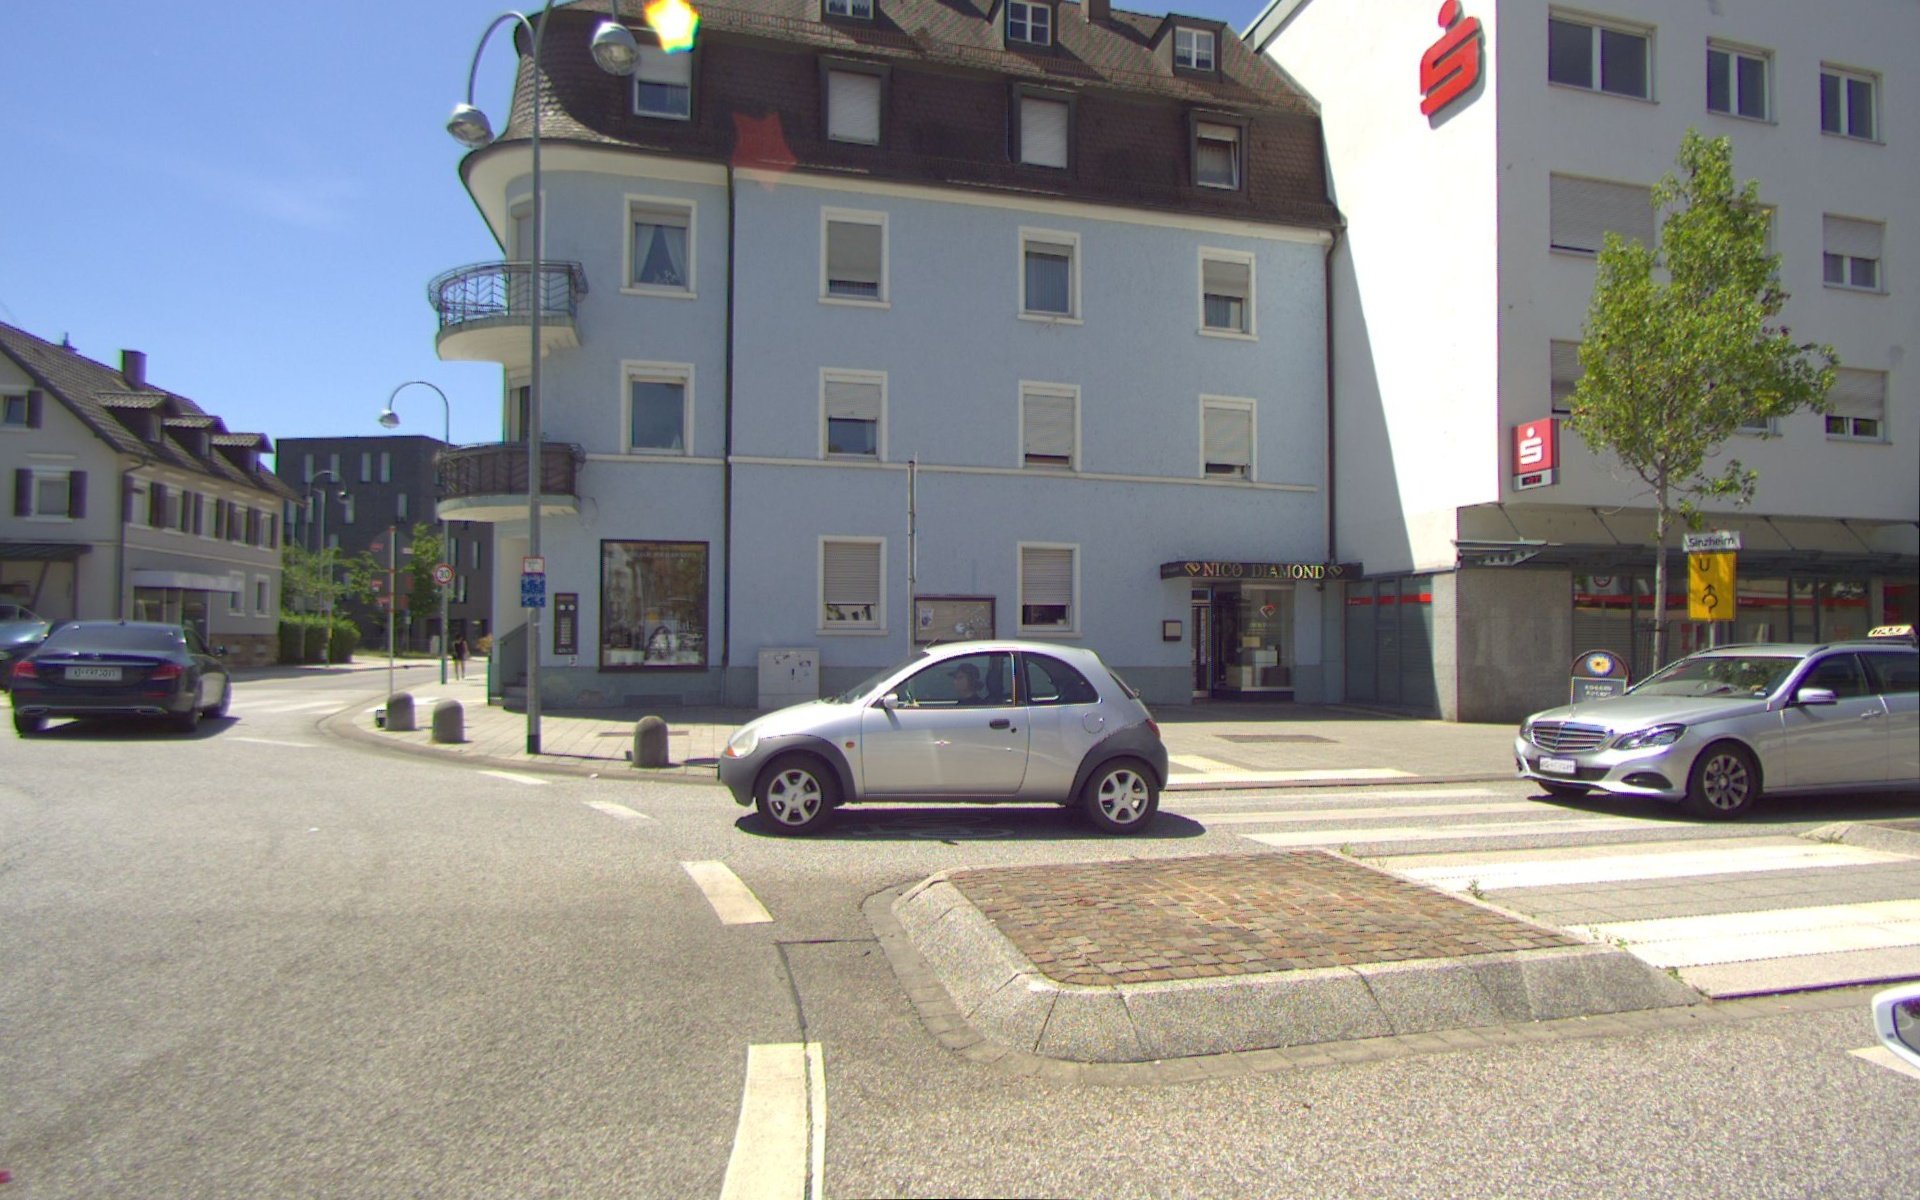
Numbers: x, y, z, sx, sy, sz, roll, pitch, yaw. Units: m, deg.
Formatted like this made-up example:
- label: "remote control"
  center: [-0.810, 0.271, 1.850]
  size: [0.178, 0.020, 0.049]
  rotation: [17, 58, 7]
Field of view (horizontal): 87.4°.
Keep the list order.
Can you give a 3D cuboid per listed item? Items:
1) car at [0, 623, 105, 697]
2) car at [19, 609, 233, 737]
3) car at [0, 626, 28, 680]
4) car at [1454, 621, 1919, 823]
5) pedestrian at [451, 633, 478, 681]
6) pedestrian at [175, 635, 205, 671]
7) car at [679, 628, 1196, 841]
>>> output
- label: "car"
  center: [-21.237, 1.296, 22.373]
  size: [1.723, 1.566, 3.588]
  rotation: [1, -2, -11]
- label: "car"
  center: [-11.839, 0.993, 14.181]
  size: [1.986, 1.497, 4.651]
  rotation: [3, -5, -42]
- label: "car"
  center: [-30.735, 1.545, 29.907]
  size: [3.928, 1.617, 1.792]
  rotation: [2, -3, -10]
- label: "car"
  center: [7.550, 1.067, 9.561]
  size: [4.911, 1.613, 1.996]
  rotation: [1, -3, -12]
- label: "pedestrian"
  center: [-16.346, 1.875, 33.142]
  size: [0.618, 1.544, 0.801]
  rotation: [-1, -2, -14]
- label: "pedestrian"
  center: [-28.800, 1.982, 37.577]
  size: [0.674, 1.302, 0.579]
  rotation: [1, -2, -15]
- label: "car"
  center: [-0.195, 1.010, 8.070]
  size: [3.719, 1.477, 1.704]
  rotation: [1, -3, -7]
